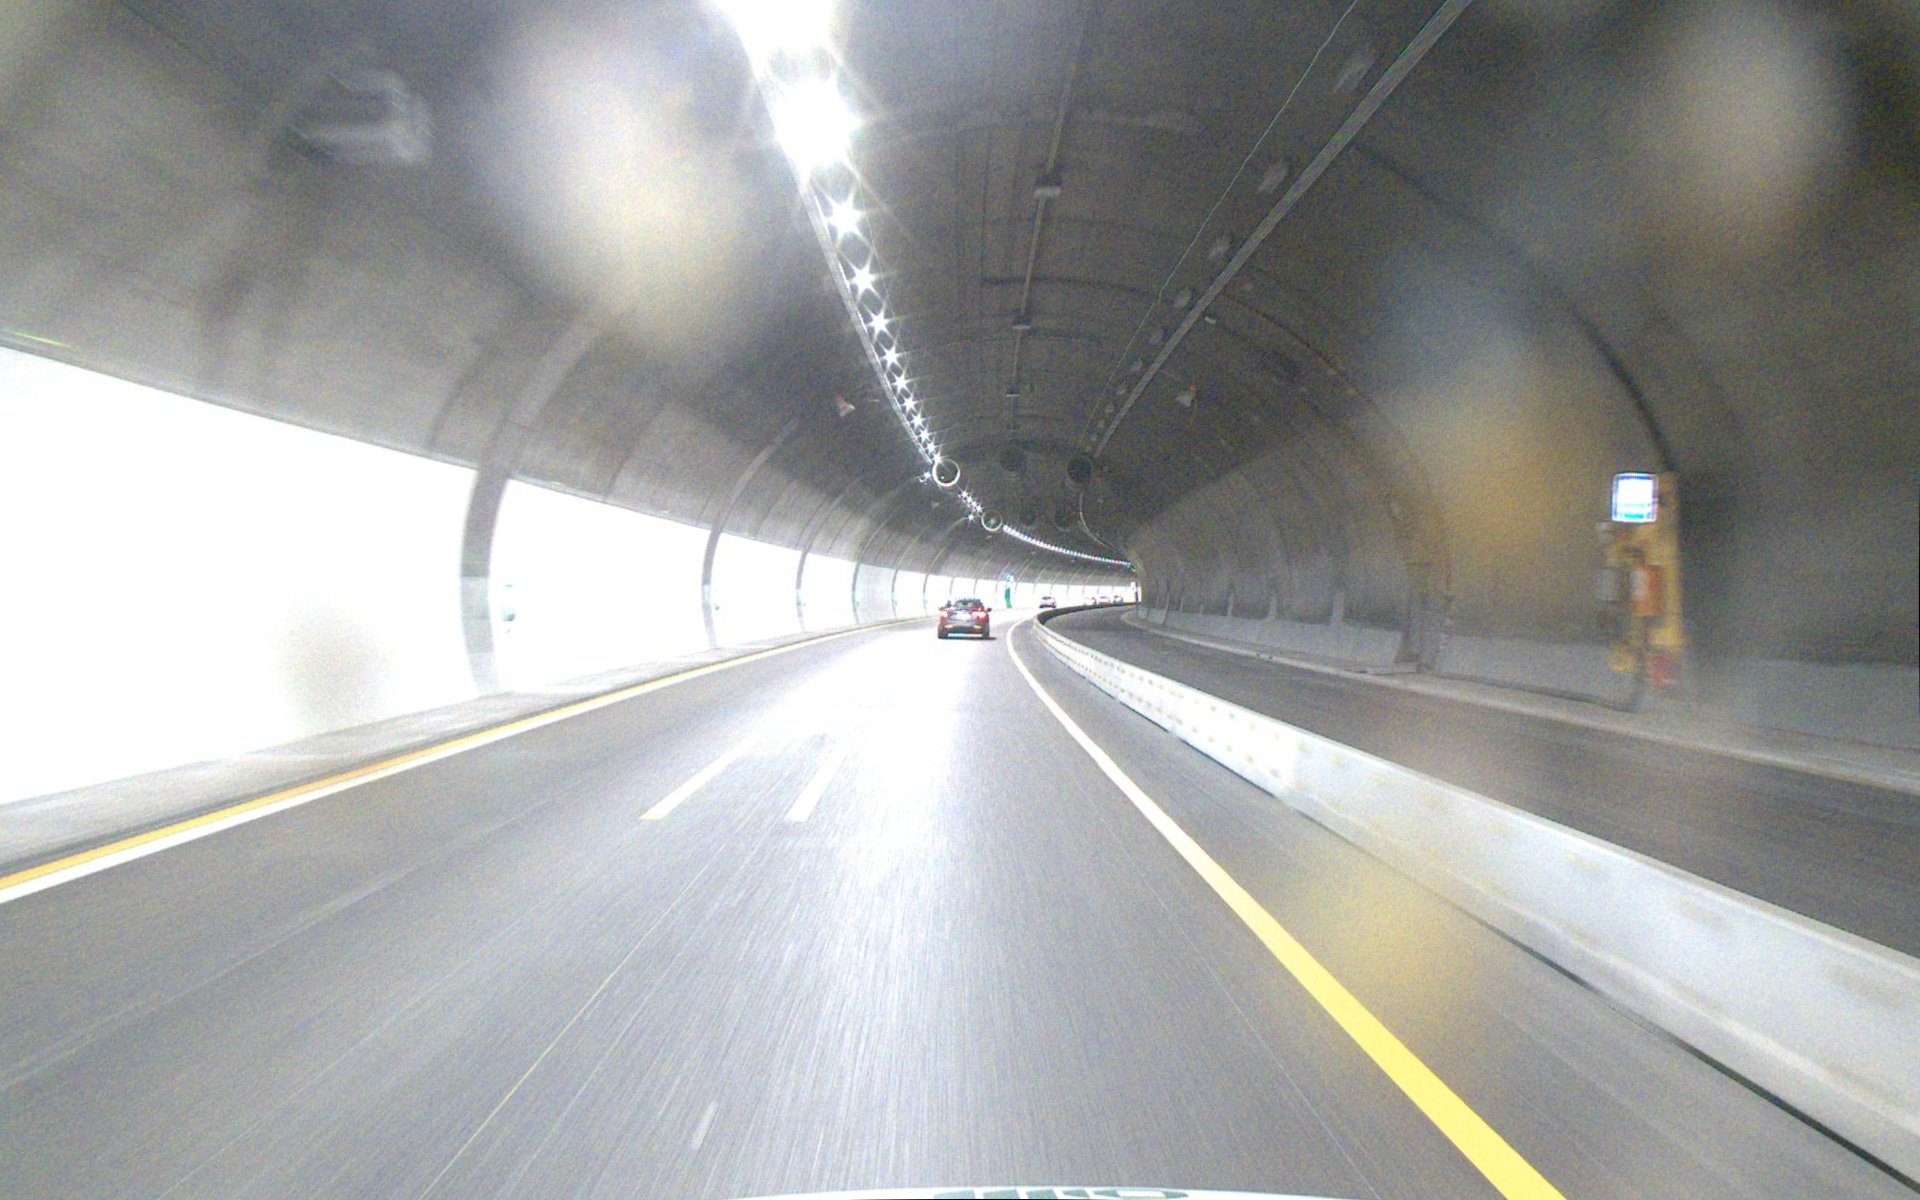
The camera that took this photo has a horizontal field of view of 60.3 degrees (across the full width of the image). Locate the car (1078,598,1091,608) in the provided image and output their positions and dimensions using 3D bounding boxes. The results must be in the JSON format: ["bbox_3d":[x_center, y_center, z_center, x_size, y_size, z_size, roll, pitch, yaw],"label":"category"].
[{"bbox_3d":[17.598,0.448,234.035,1.561,1.356,3.753,1,0,9],"label":"car"}]

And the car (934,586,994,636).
[{"bbox_3d":[0.163,0.374,59.676,2.097,1.735,4.000,1,0,0],"label":"car"}]

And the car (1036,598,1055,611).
[{"bbox_3d":[10.665,0.537,206.284,2.119,1.512,4.003,1,0,7],"label":"car"}]
